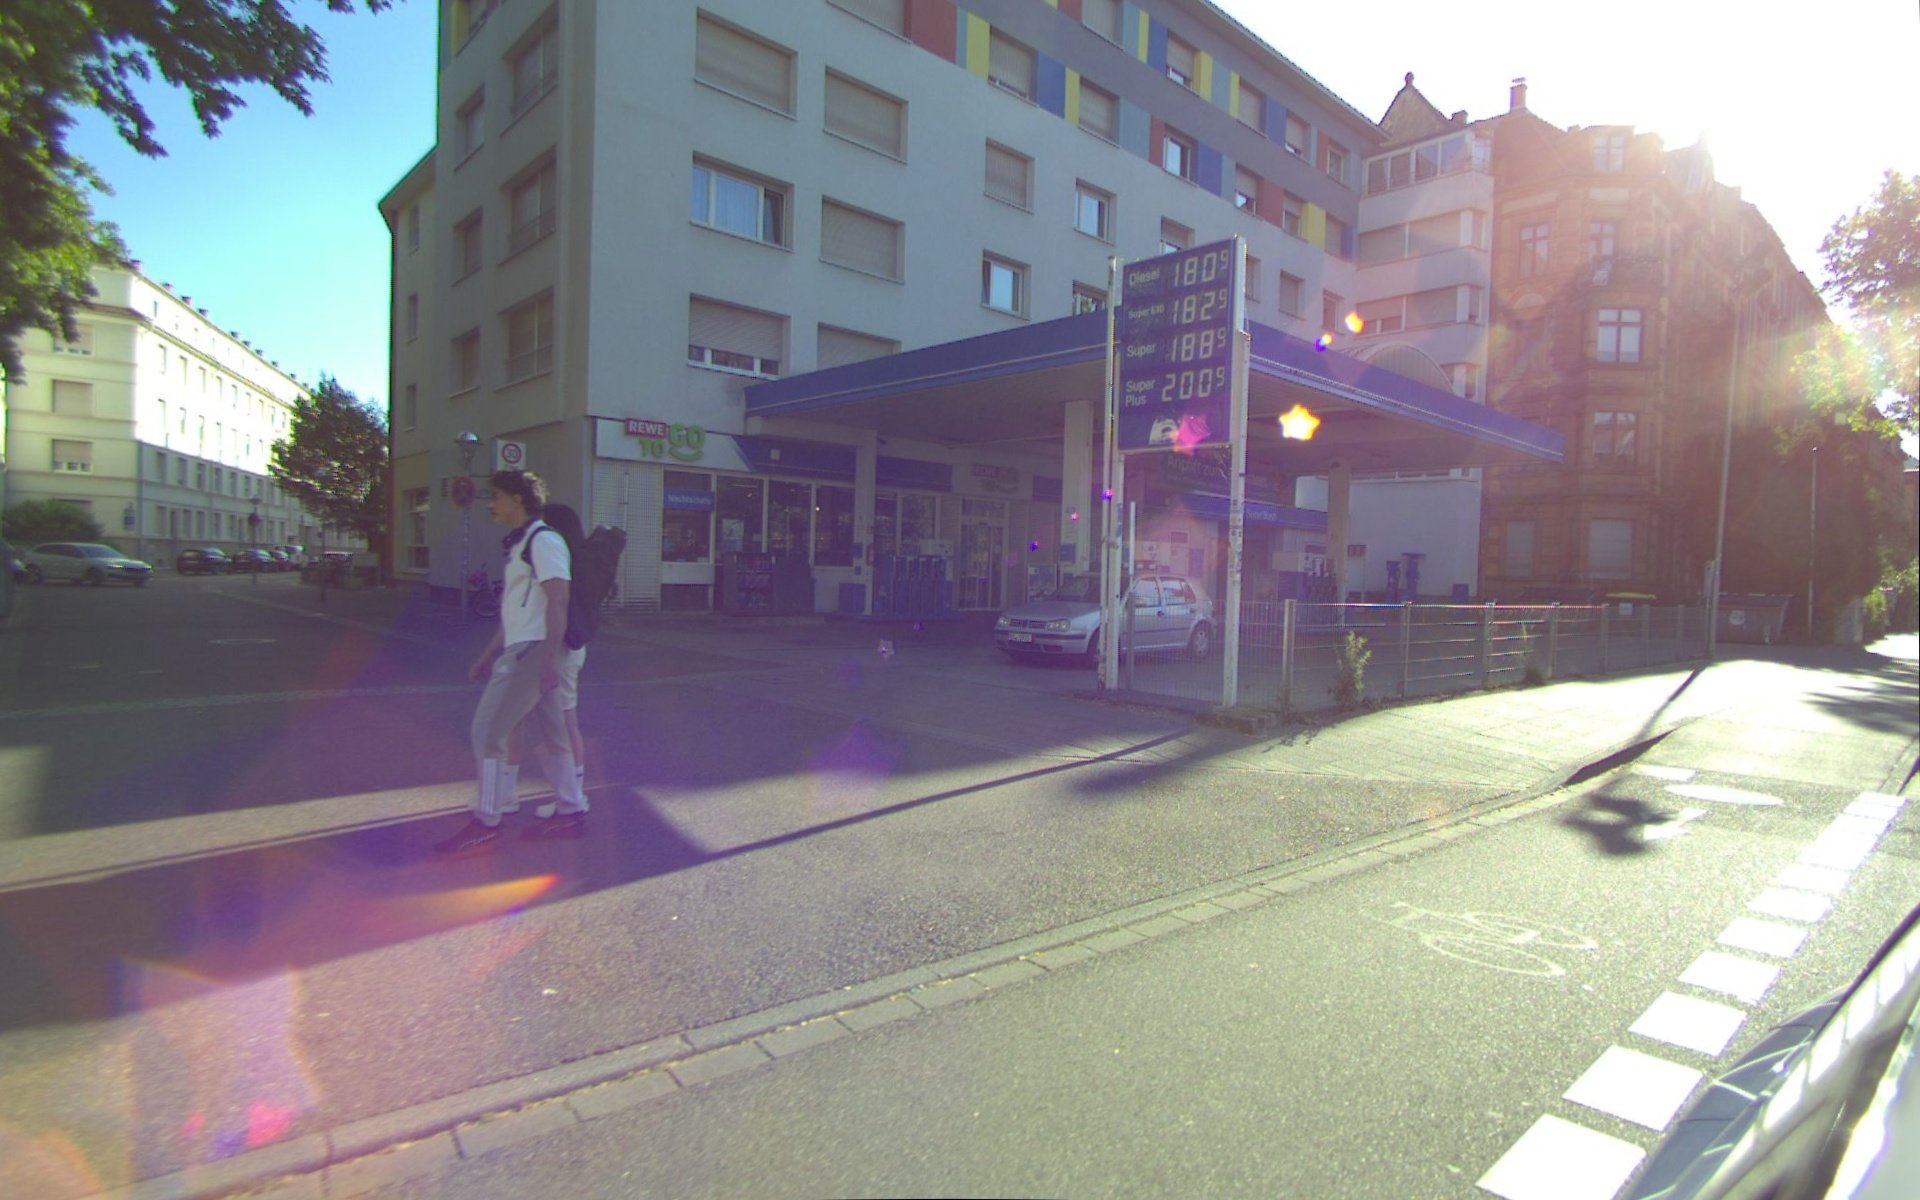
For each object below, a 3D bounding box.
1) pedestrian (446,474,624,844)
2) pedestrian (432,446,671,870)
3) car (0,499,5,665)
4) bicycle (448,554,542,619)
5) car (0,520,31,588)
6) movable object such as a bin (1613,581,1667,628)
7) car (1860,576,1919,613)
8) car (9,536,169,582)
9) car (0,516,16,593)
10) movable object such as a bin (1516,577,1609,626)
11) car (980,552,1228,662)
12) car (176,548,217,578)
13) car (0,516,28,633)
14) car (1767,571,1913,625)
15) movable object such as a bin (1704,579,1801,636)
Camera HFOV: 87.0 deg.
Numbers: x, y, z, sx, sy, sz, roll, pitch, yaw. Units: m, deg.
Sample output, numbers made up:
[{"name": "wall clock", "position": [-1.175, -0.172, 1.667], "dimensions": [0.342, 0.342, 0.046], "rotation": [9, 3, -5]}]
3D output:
[{"name": "pedestrian", "position": [-2.245, 0.266, 5.329], "dimensions": [0.677, 1.797, 0.605], "rotation": [0, 5, -38]}, {"name": "pedestrian", "position": [-1.925, 0.225, 4.760], "dimensions": [0.863, 1.797, 0.605], "rotation": [0, 5, -39]}, {"name": "car", "position": [-11.443, -0.175, 8.623], "dimensions": [4.716, 1.756, 1.863], "rotation": [1, 2, -43]}, {"name": "bicycle", "position": [-9.420, -0.298, 20.478], "dimensions": [2.120, 1.224, 0.826], "rotation": [3, 2, 37]}, {"name": "car", "position": [-31.012, -1.502, 30.275], "dimensions": [4.669, 2.039, 1.997], "rotation": [2, 1, -42]}, {"name": "movable object such as a bin", "position": [21.259, 0.129, 31.628], "dimensions": [1.012, 1.406, 1.187], "rotation": [0, 2, -44]}, {"name": "car", "position": [58.494, -0.304, 62.435], "dimensions": [1.967, 2.037, 4.183], "rotation": [0, 5, -43]}, {"name": "car", "position": [-31.105, -1.454, 36.206], "dimensions": [4.252, 1.394, 1.996], "rotation": [3, 1, 8]}, {"name": "car", "position": [-27.825, -1.320, 26.338], "dimensions": [4.669, 2.039, 1.997], "rotation": [2, 1, -42]}, {"name": "movable object such as a bin", "position": [19.348, 0.026, 32.516], "dimensions": [2.209, 1.441, 1.749], "rotation": [3, 2, 44]}, {"name": "car", "position": [2.308, 0.055, 15.524], "dimensions": [4.030, 1.448, 1.569], "rotation": [0, 3, -43]}, {"name": "car", "position": [-41.737, -2.004, 55.371], "dimensions": [1.696, 1.487, 3.696], "rotation": [0, 0, -36]}, {"name": "car", "position": [-16.310, -0.411, 14.777], "dimensions": [3.934, 1.760, 1.995], "rotation": [0, 2, -44]}, {"name": "car", "position": [38.823, -0.132, 44.757], "dimensions": [1.882, 2.038, 4.582], "rotation": [0, 4, -42]}, {"name": "movable object such as a bin", "position": [22.966, 0.189, 29.326], "dimensions": [2.036, 1.509, 1.718], "rotation": [3, 2, 44]}]
